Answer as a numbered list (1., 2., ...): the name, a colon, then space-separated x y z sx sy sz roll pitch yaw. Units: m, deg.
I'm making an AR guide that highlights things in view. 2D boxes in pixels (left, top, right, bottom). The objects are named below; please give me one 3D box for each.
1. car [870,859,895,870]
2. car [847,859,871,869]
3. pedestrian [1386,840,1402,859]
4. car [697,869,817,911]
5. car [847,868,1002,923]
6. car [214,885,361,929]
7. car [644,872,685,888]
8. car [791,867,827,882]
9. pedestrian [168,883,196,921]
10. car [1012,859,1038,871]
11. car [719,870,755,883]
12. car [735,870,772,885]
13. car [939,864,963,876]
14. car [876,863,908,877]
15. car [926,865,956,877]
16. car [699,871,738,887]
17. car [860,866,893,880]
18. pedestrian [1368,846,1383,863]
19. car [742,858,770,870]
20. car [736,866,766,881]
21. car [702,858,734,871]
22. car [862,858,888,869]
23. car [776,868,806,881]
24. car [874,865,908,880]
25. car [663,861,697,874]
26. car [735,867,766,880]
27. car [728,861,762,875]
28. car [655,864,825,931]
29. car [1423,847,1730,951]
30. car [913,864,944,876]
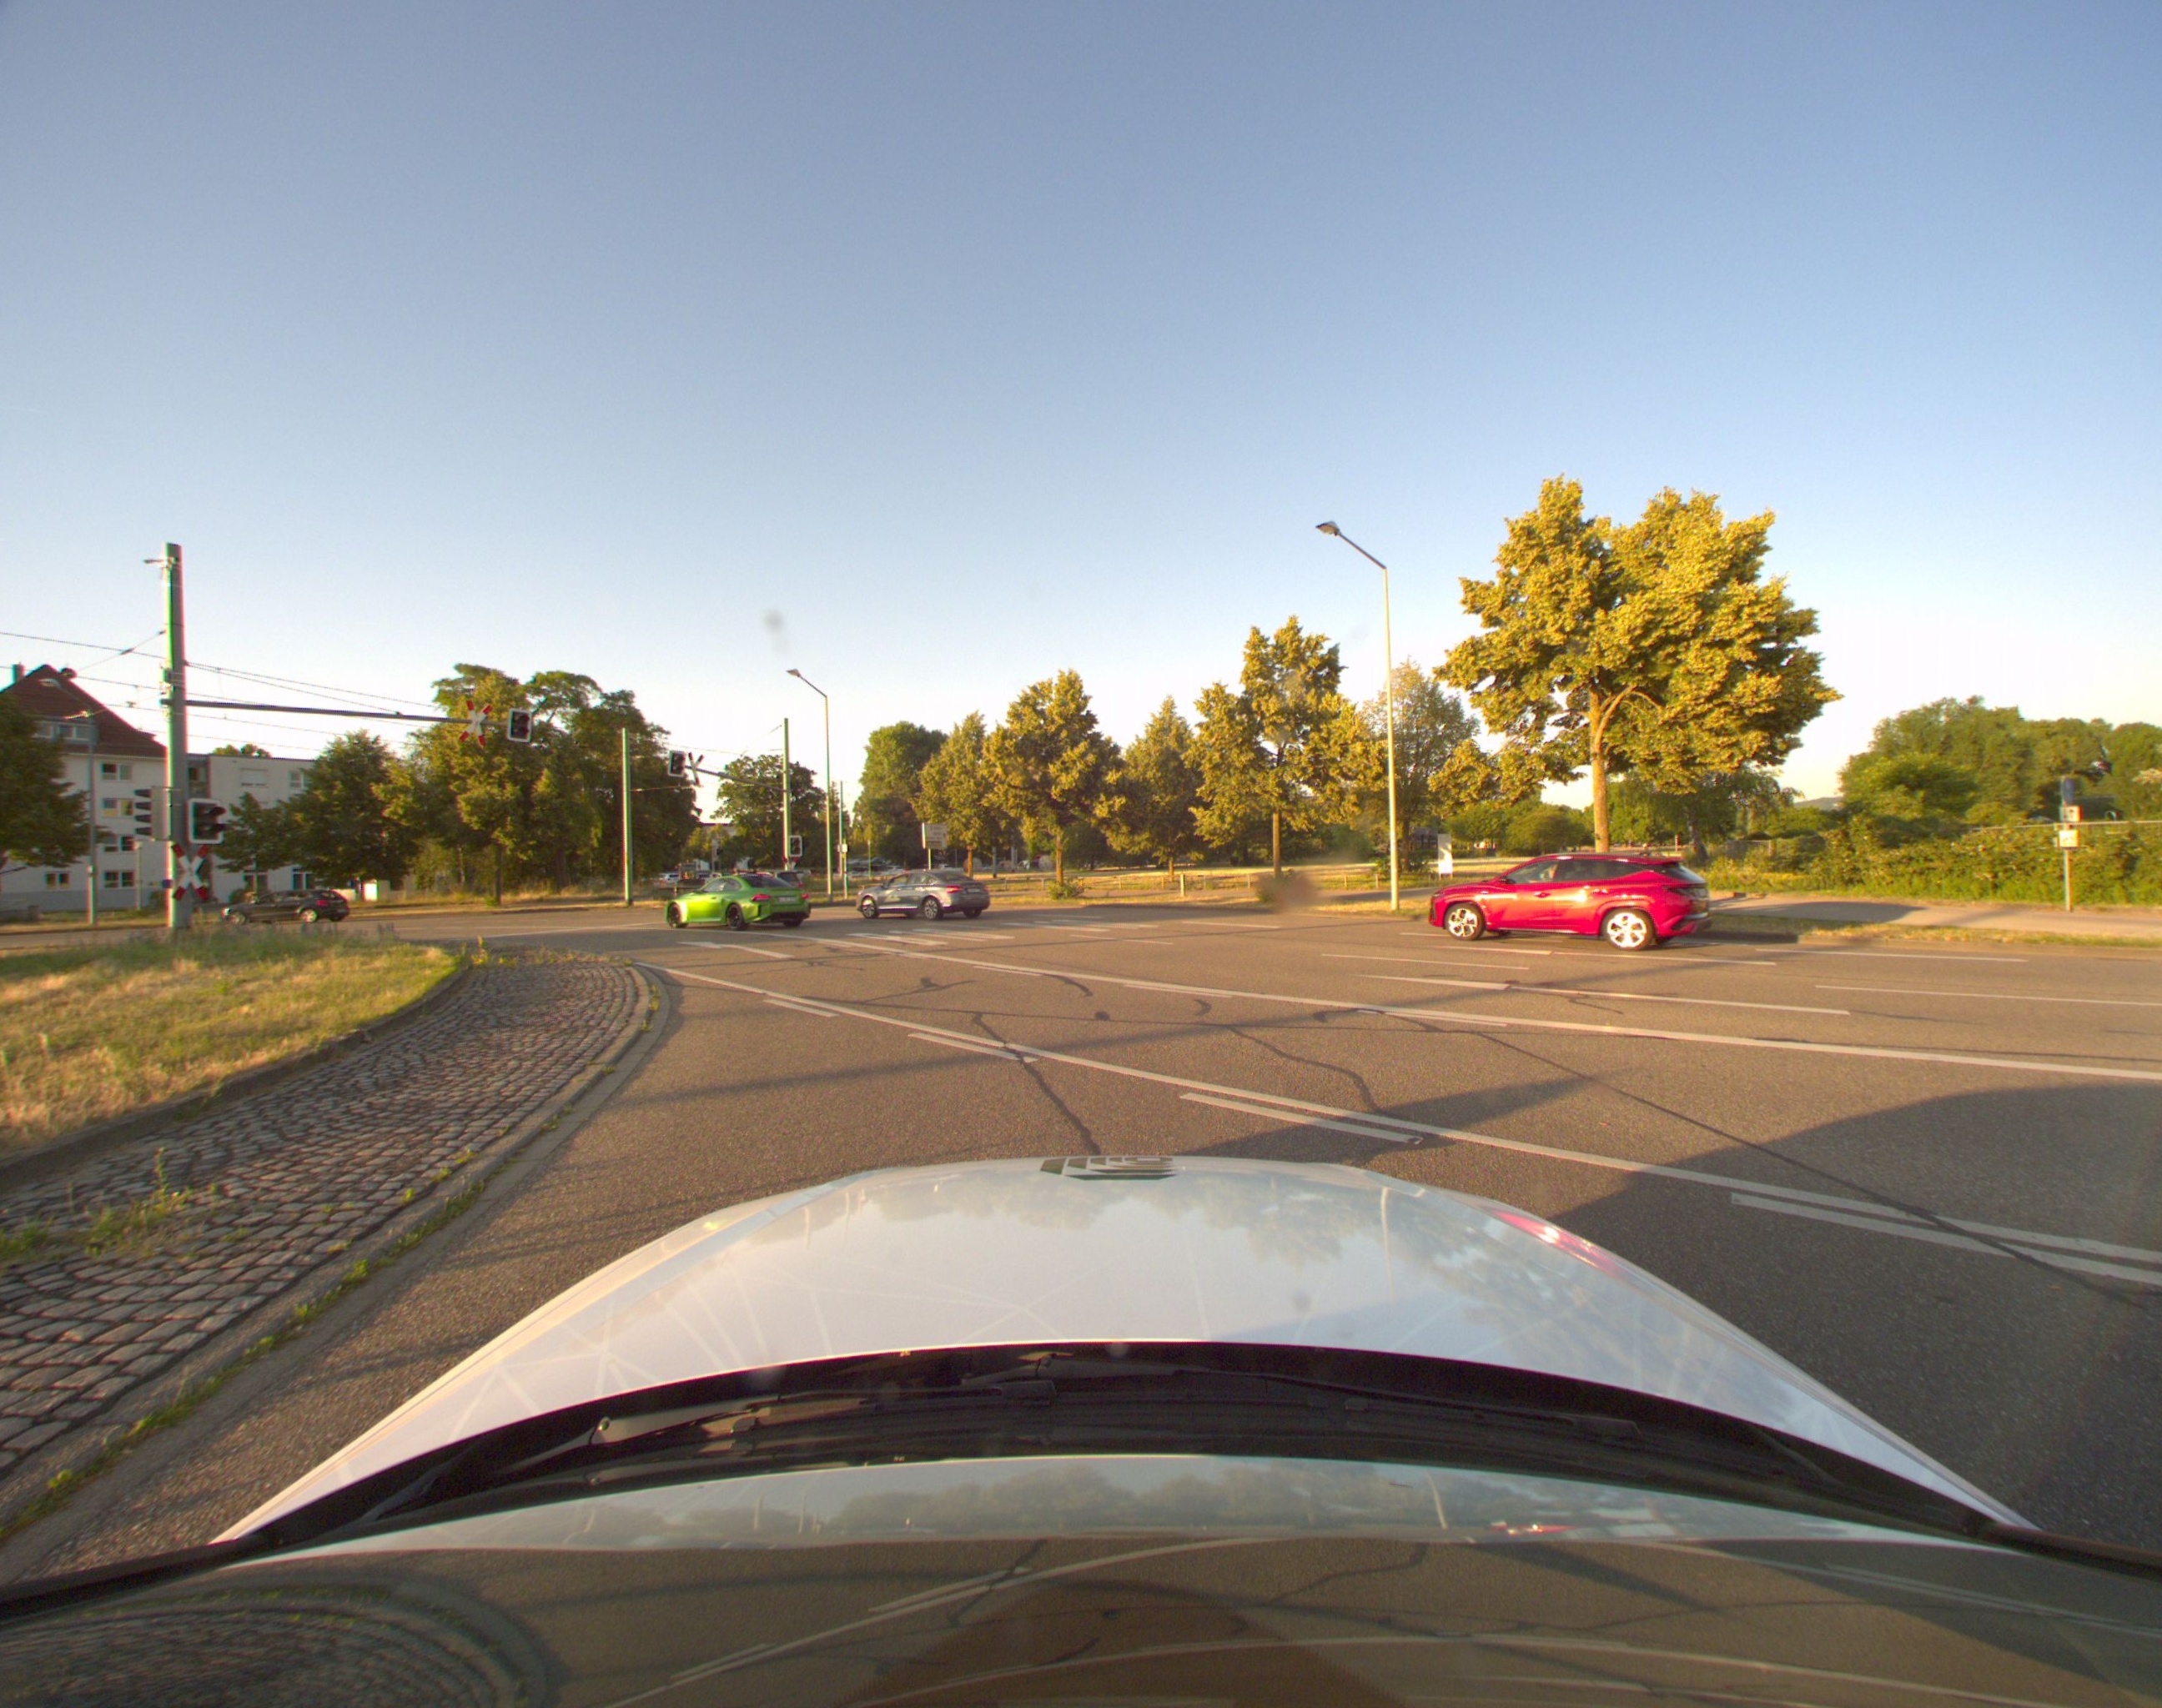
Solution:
1. car: -35.676 1.879 146.442 3.964 1.706 2.005 -2 0 8
2. car: -41.741 1.878 153.027 1.974 1.816 4.026 -2 0 37
3. pedestrian: 28.596 -0.405 74.430 1.064 1.617 0.911 -2 0 4
4. car: -13.738 1.505 34.557 4.473 1.637 2.010 -2 0 20
5. car: -4.790 1.229 24.721 4.610 1.464 1.899 -2 0 35
6. car: -33.068 2.196 34.041 3.991 1.353 1.688 -4 3 -13
7. car: -42.644 2.672 83.330 3.948 1.604 2.013 -2 0 34
8. car: -32.627 2.453 97.615 3.948 1.604 2.013 -2 0 34
9. pedestrian: -45.339 2.413 41.074 0.666 1.893 0.619 0 -1 -4
10. car: -7.947 1.515 115.268 1.748 1.618 3.954 -1 0 -39
11. car: -46.106 3.008 109.150 1.878 1.662 4.026 -2 0 37
12. car: -37.044 2.701 92.066 3.948 1.604 2.013 -2 0 34
13. car: -20.833 2.519 129.994 2.008 1.752 4.549 -1 1 -35
14. car: -29.370 2.407 126.705 4.578 2.013 1.995 -2 0 -7
15. car: -19.984 2.364 116.486 3.948 1.604 2.013 -2 0 34
16. car: -39.014 2.679 87.547 3.948 1.604 2.013 -2 0 34
17. car: -26.663 2.477 105.992 3.948 1.604 2.013 -2 0 34
18. pedestrian: 27.468 0.040 75.895 1.064 1.617 0.911 -2 0 4
19. car: -57.830 1.797 144.938 1.974 2.013 4.143 -2 0 36
20. car: -47.882 2.768 118.069 4.006 2.013 1.984 -2 0 -24
21. car: -61.918 1.781 139.068 1.974 2.013 4.628 -2 0 36
22. car: -37.952 1.768 150.048 1.975 2.013 4.025 -2 0 42
23. car: -41.292 2.876 116.001 4.001 1.662 1.889 -2 0 -20
24. car: -27.644 2.676 118.517 4.578 2.013 1.995 -2 0 -7
25. car: -65.656 2.226 133.329 1.974 2.013 4.627 -2 0 32
26. car: -46.221 2.777 113.949 4.005 1.662 1.984 -2 0 -24
27. car: -51.875 2.116 125.808 1.974 2.013 4.627 -2 0 32
28. car: -9.159 1.112 21.794 4.427 1.579 2.013 -2 0 33
29. car: 8.846 0.726 14.842 2.011 1.573 4.363 -1 0 -41
30. car: -21.460 2.308 114.792 3.948 1.604 2.013 -2 0 34
